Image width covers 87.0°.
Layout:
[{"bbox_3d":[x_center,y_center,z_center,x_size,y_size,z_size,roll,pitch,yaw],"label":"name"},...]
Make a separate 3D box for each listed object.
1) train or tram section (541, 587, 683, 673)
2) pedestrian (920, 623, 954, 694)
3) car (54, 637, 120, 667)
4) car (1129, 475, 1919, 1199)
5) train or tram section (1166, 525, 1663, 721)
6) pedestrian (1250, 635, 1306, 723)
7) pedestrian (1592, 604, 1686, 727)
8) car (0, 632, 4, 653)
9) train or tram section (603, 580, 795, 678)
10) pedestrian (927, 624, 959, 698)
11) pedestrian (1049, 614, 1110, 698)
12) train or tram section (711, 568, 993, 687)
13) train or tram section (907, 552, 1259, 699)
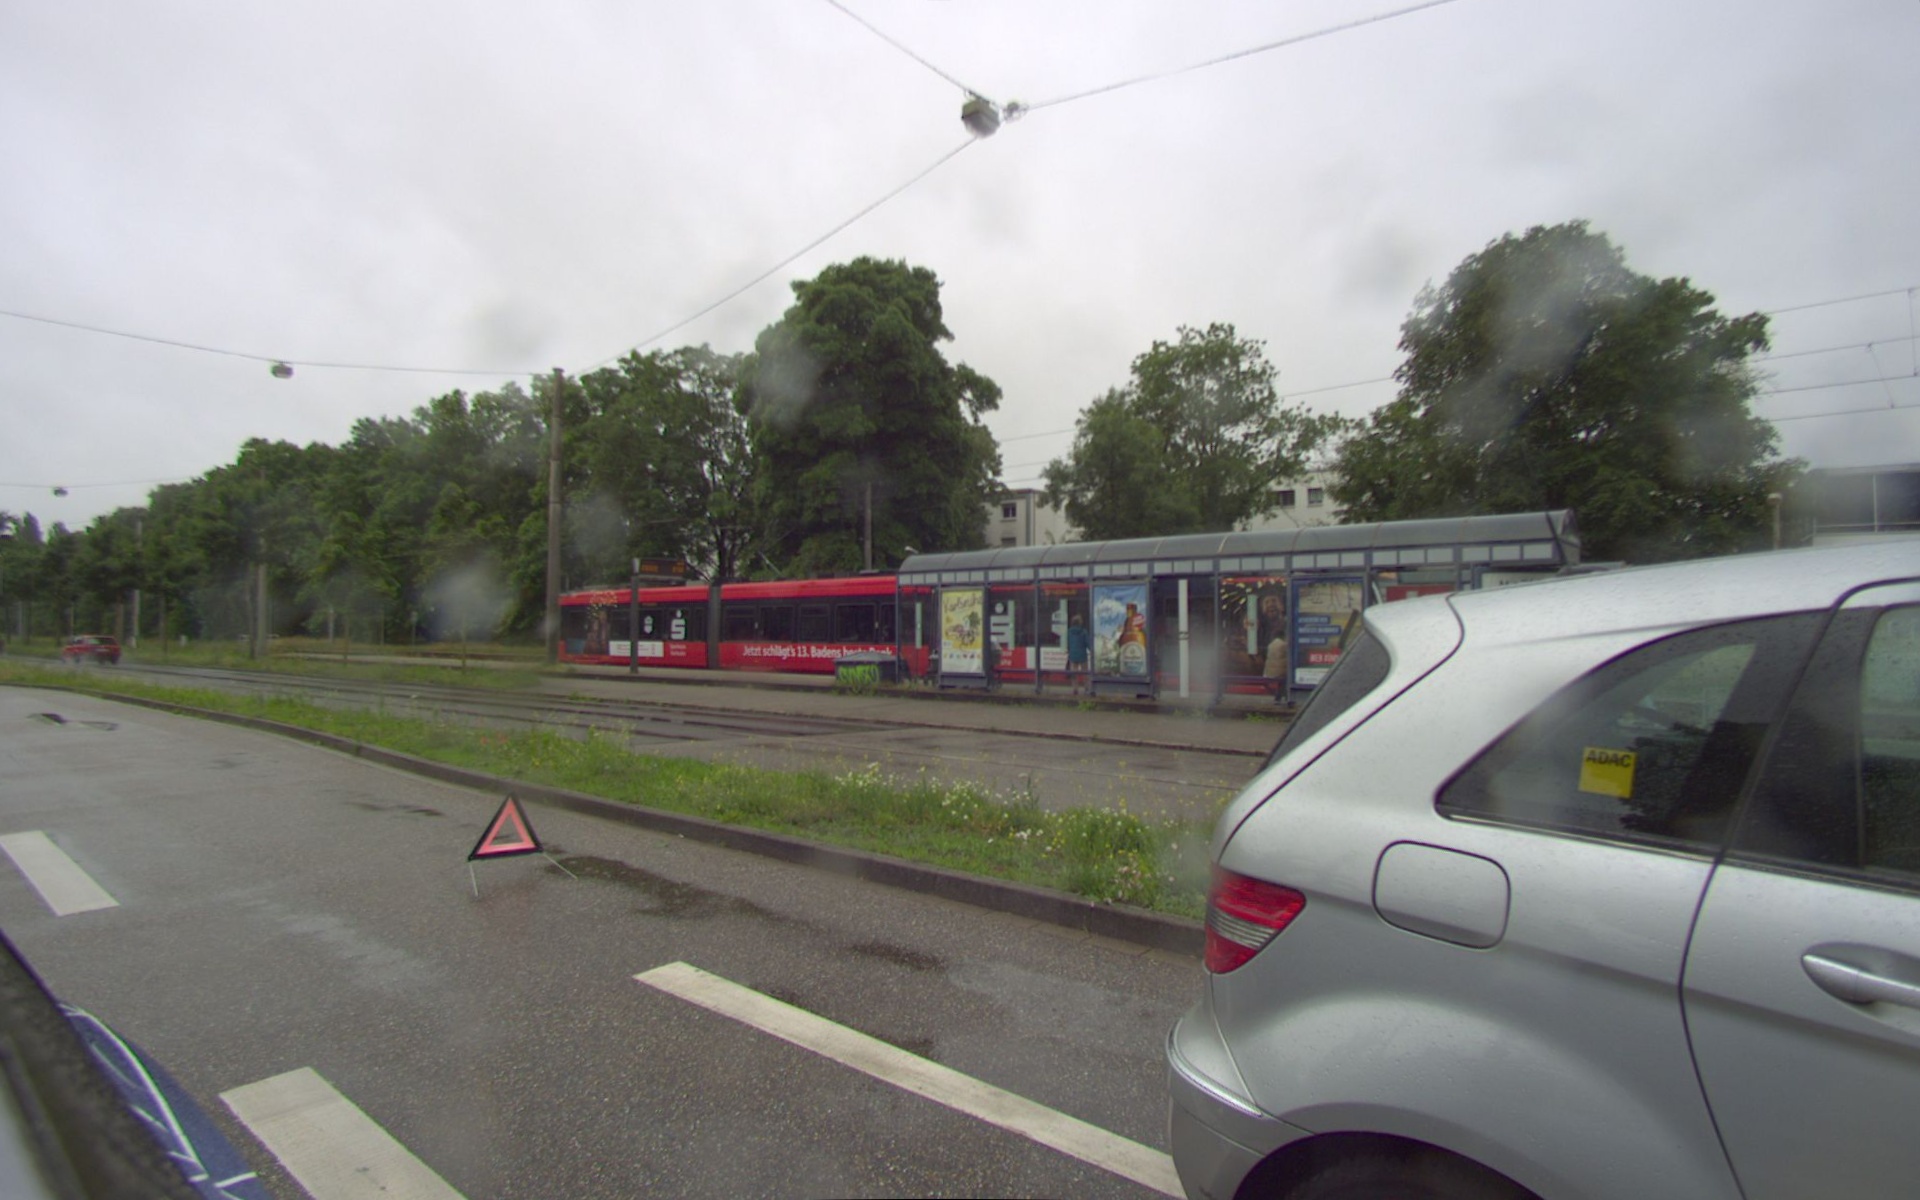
[{"bbox_3d":[-15.202,1.317,44.100,5.767,3.444,3.495,-2,-3,42],"label":"train or tram section"},{"bbox_3d":[-0.528,1.319,23.005,0.514,1.574,0.603,-1,0,-35],"label":"pedestrian"},{"bbox_3d":[-42.431,2.529,49.172,4.247,1.371,1.663,-2,-5,39],"label":"car"},{"bbox_3d":[2.367,0.633,1.123,4.011,1.556,1.718,-2,-2,42],"label":"car"},{"bbox_3d":[9.475,0.551,22.091,9.274,3.416,3.495,-2,-3,42],"label":"train or tram section"},{"bbox_3d":[5.429,1.323,17.285,0.699,1.464,0.618,-2,-3,43],"label":"pedestrian"},{"bbox_3d":[9.803,0.913,14.611,0.996,1.688,0.914,-1,0,41],"label":"pedestrian"},{"bbox_3d":[-69.331,3.032,71.927,3.819,1.448,1.718,-1,-1,42],"label":"car"},{"bbox_3d":[-10.369,1.163,39.784,7.899,3.438,3.495,-2,-3,42],"label":"train or tram section"},{"bbox_3d":[-0.377,1.328,22.309,0.437,1.574,0.603,-1,0,-35],"label":"pedestrian"},{"bbox_3d":[2.376,1.102,20.139,0.929,1.609,0.795,-2,-3,44],"label":"pedestrian"},{"bbox_3d":[-3.917,0.952,34.025,10.257,3.427,3.495,-2,-3,42],"label":"train or tram section"},{"bbox_3d":[3.072,0.742,27.805,9.274,3.416,3.495,-2,-3,42],"label":"train or tram section"}]
